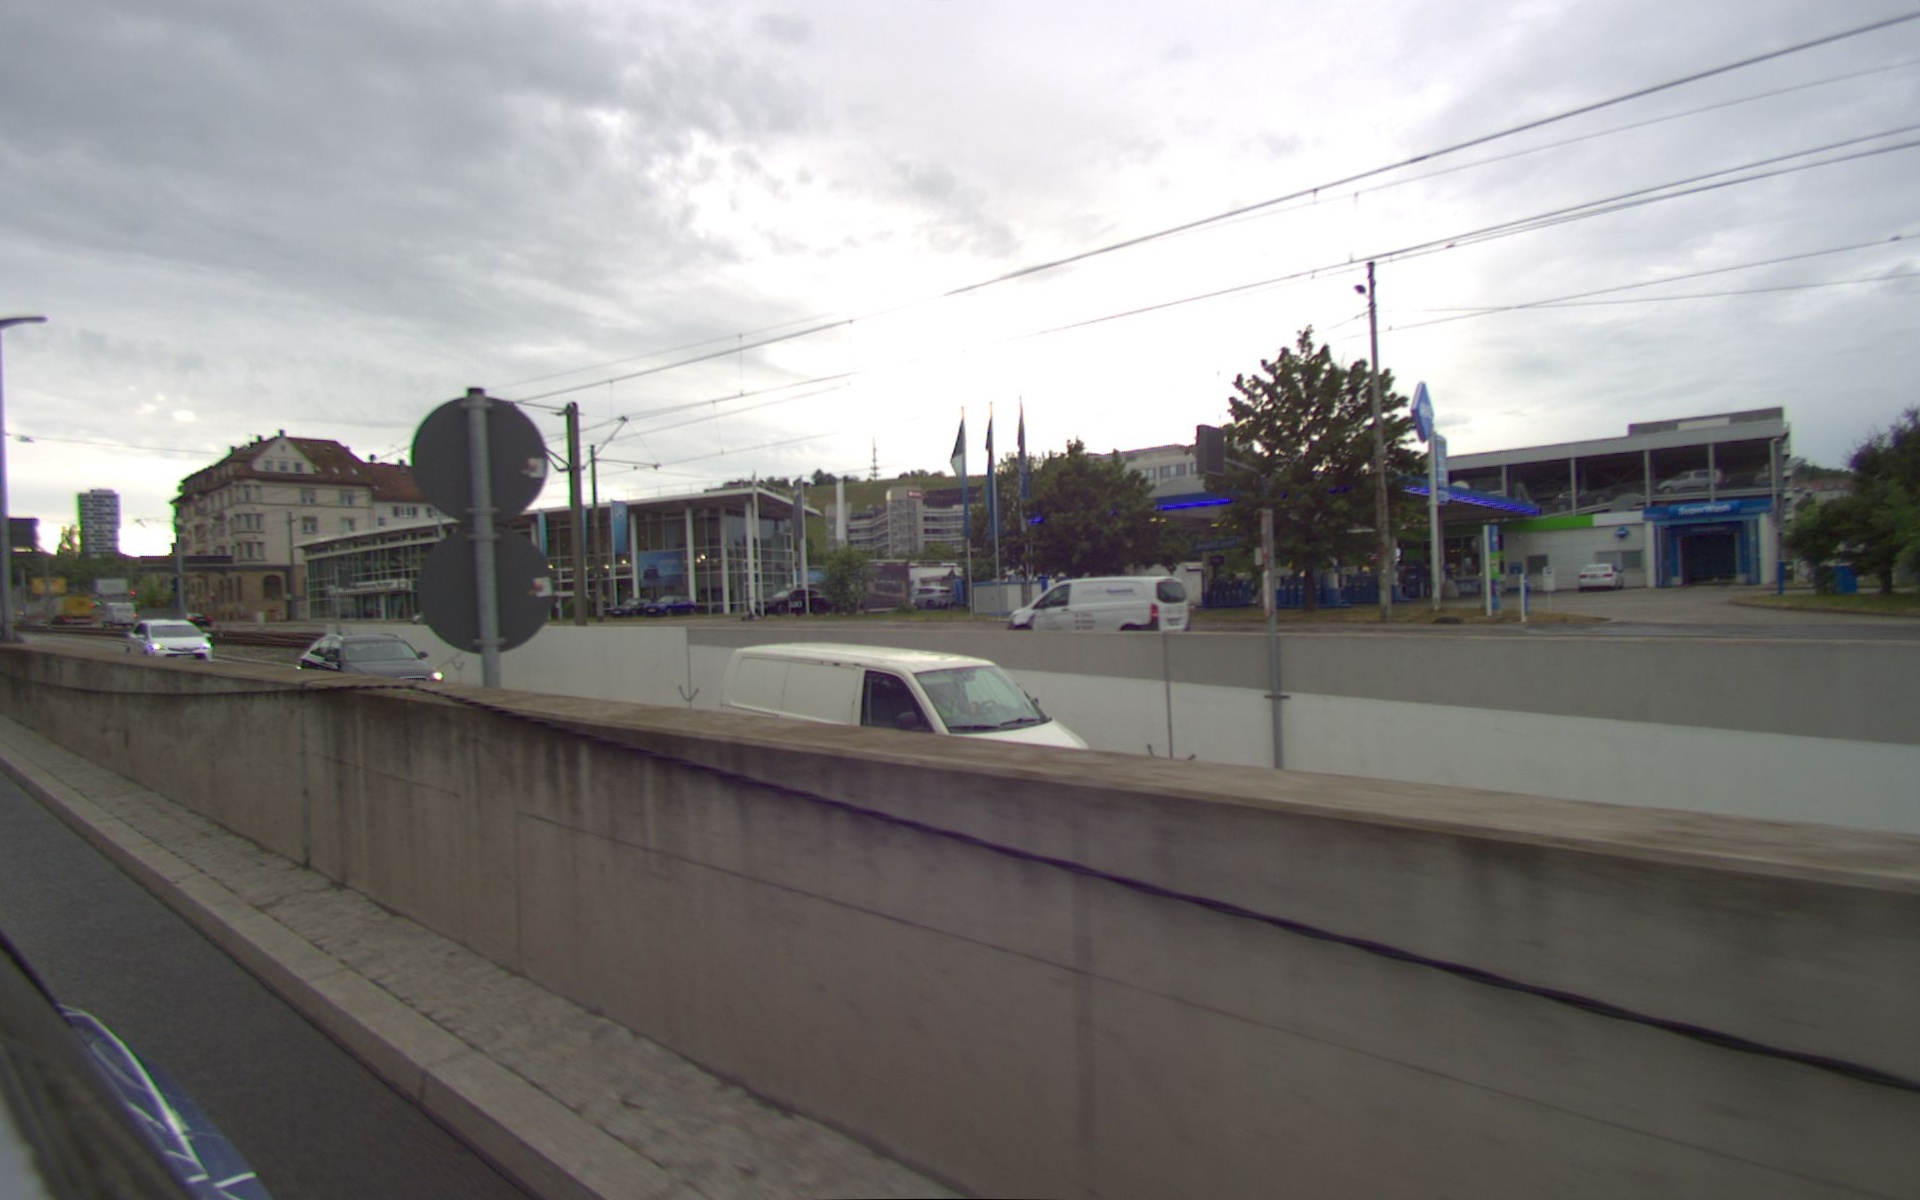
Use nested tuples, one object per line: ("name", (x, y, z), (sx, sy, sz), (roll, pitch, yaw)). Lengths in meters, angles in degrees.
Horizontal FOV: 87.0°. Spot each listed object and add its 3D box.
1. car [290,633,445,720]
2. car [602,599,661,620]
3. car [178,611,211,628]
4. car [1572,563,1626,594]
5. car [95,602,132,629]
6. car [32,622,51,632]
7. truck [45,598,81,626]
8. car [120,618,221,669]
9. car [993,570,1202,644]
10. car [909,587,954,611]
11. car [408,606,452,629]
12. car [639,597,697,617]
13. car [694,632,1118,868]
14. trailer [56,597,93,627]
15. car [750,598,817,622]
("car", (-12.517, 1.533, 21.291), (3.894, 1.585, 1.686), (-1, 0, 42))
("car", (-22.078, 0.620, 68.174), (1.691, 1.244, 3.973), (-4, 0, 20))
("car", (-74.054, 1.869, 97.886), (4.338, 1.527, 1.723), (-1, 0, 41))
("car", (35.655, -1.215, 56.451), (1.857, 1.652, 3.944), (-2, 0, 43))
("car", (-89.199, 1.643, 106.613), (6.161, 2.618, 2.030), (-1, 1, 41))
("car", (-174.312, 5.088, 192.059), (5.190, 1.888, 1.973), (-1, 0, 41))
("truck", (-133.280, 1.831, 150.278), (10.136, 4.082, 2.655), (-1, 0, 41))
("car", (-26.854, 1.430, 34.370), (4.317, 1.585, 1.956), (-1, 0, 42))
("car", (3.434, 0.187, 25.991), (5.031, 1.708, 1.980), (-1, 0, 40))
("car", (-1.954, -0.061, 68.623), (2.798, 1.584, 1.368), (-1, 1, 39))
("car", (-32.197, 1.057, 61.441), (2.798, 1.309, 1.368), (-1, 1, 39))
("car", (-19.368, 0.441, 67.284), (1.748, 1.244, 3.973), (-1, 1, 20))
("car", (-0.778, 1.392, 11.194), (4.716, 1.973, 1.889), (-1, 0, 42))
("trailer", (-126.039, 1.695, 144.018), (9.077, 4.082, 2.655), (-1, 0, 41))
("car", (-10.355, 0.568, 59.474), (1.717, 1.284, 3.476), (-1, 1, 45))
